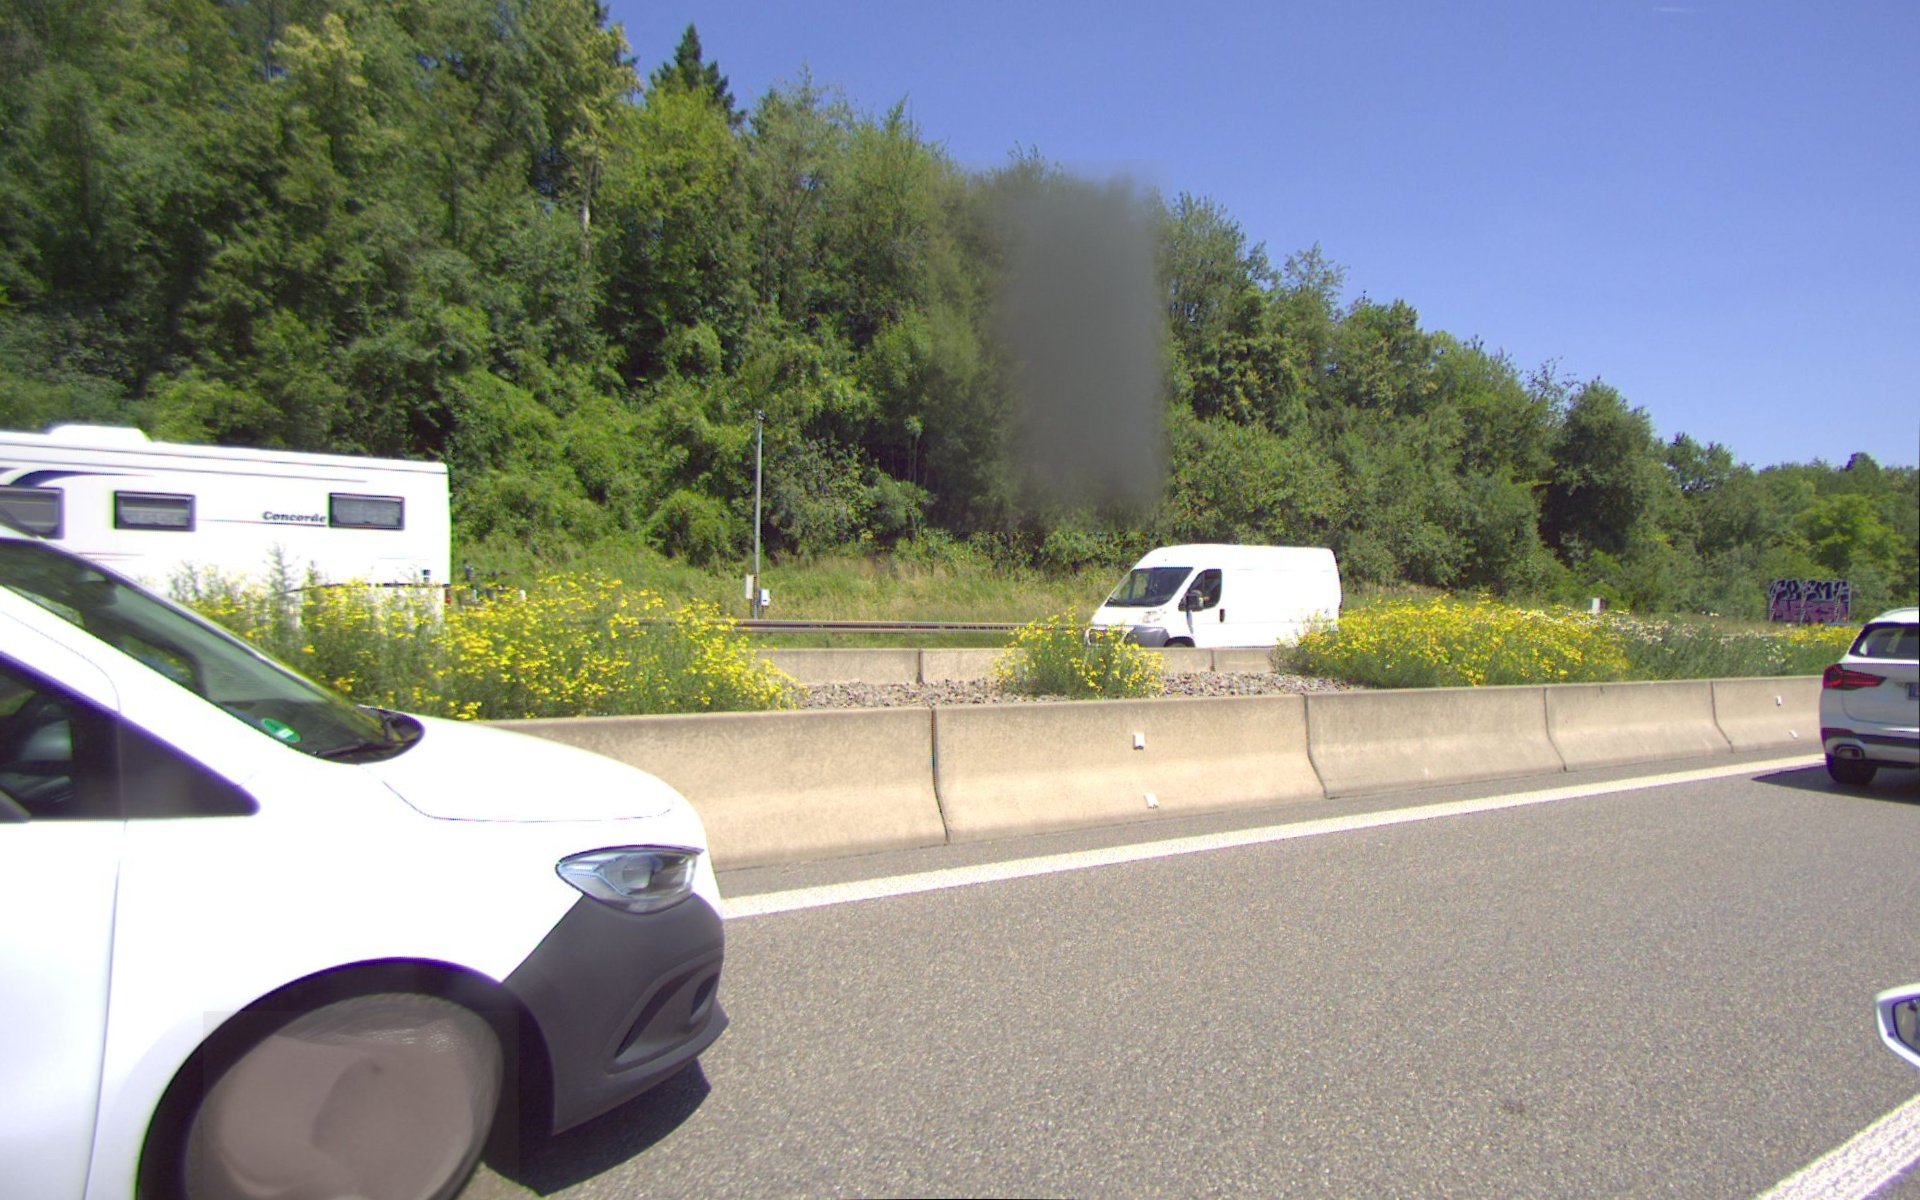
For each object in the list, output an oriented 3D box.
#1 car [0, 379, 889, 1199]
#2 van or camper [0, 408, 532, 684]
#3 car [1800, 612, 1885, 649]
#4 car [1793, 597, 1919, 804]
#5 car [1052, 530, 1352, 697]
[{"bbox_3d":[-2.630,0.507,2.284,4.619,1.837,1.756,2,-1,-30],"label":"car"},{"bbox_3d":[-11.028,-0.595,14.115,8.900,3.361,2.527,3,-1,-31],"label":"van or camper"},{"bbox_3d":[39.955,1.378,45.474,3.955,1.511,1.767,3,-1,-31],"label":"car"},{"bbox_3d":[10.099,0.902,9.567,4.900,1.717,1.854,2,-1,-32],"label":"car"},{"bbox_3d":[4.694,0.274,19.159,5.682,2.778,2.189,1,0,-31],"label":"car"}]
